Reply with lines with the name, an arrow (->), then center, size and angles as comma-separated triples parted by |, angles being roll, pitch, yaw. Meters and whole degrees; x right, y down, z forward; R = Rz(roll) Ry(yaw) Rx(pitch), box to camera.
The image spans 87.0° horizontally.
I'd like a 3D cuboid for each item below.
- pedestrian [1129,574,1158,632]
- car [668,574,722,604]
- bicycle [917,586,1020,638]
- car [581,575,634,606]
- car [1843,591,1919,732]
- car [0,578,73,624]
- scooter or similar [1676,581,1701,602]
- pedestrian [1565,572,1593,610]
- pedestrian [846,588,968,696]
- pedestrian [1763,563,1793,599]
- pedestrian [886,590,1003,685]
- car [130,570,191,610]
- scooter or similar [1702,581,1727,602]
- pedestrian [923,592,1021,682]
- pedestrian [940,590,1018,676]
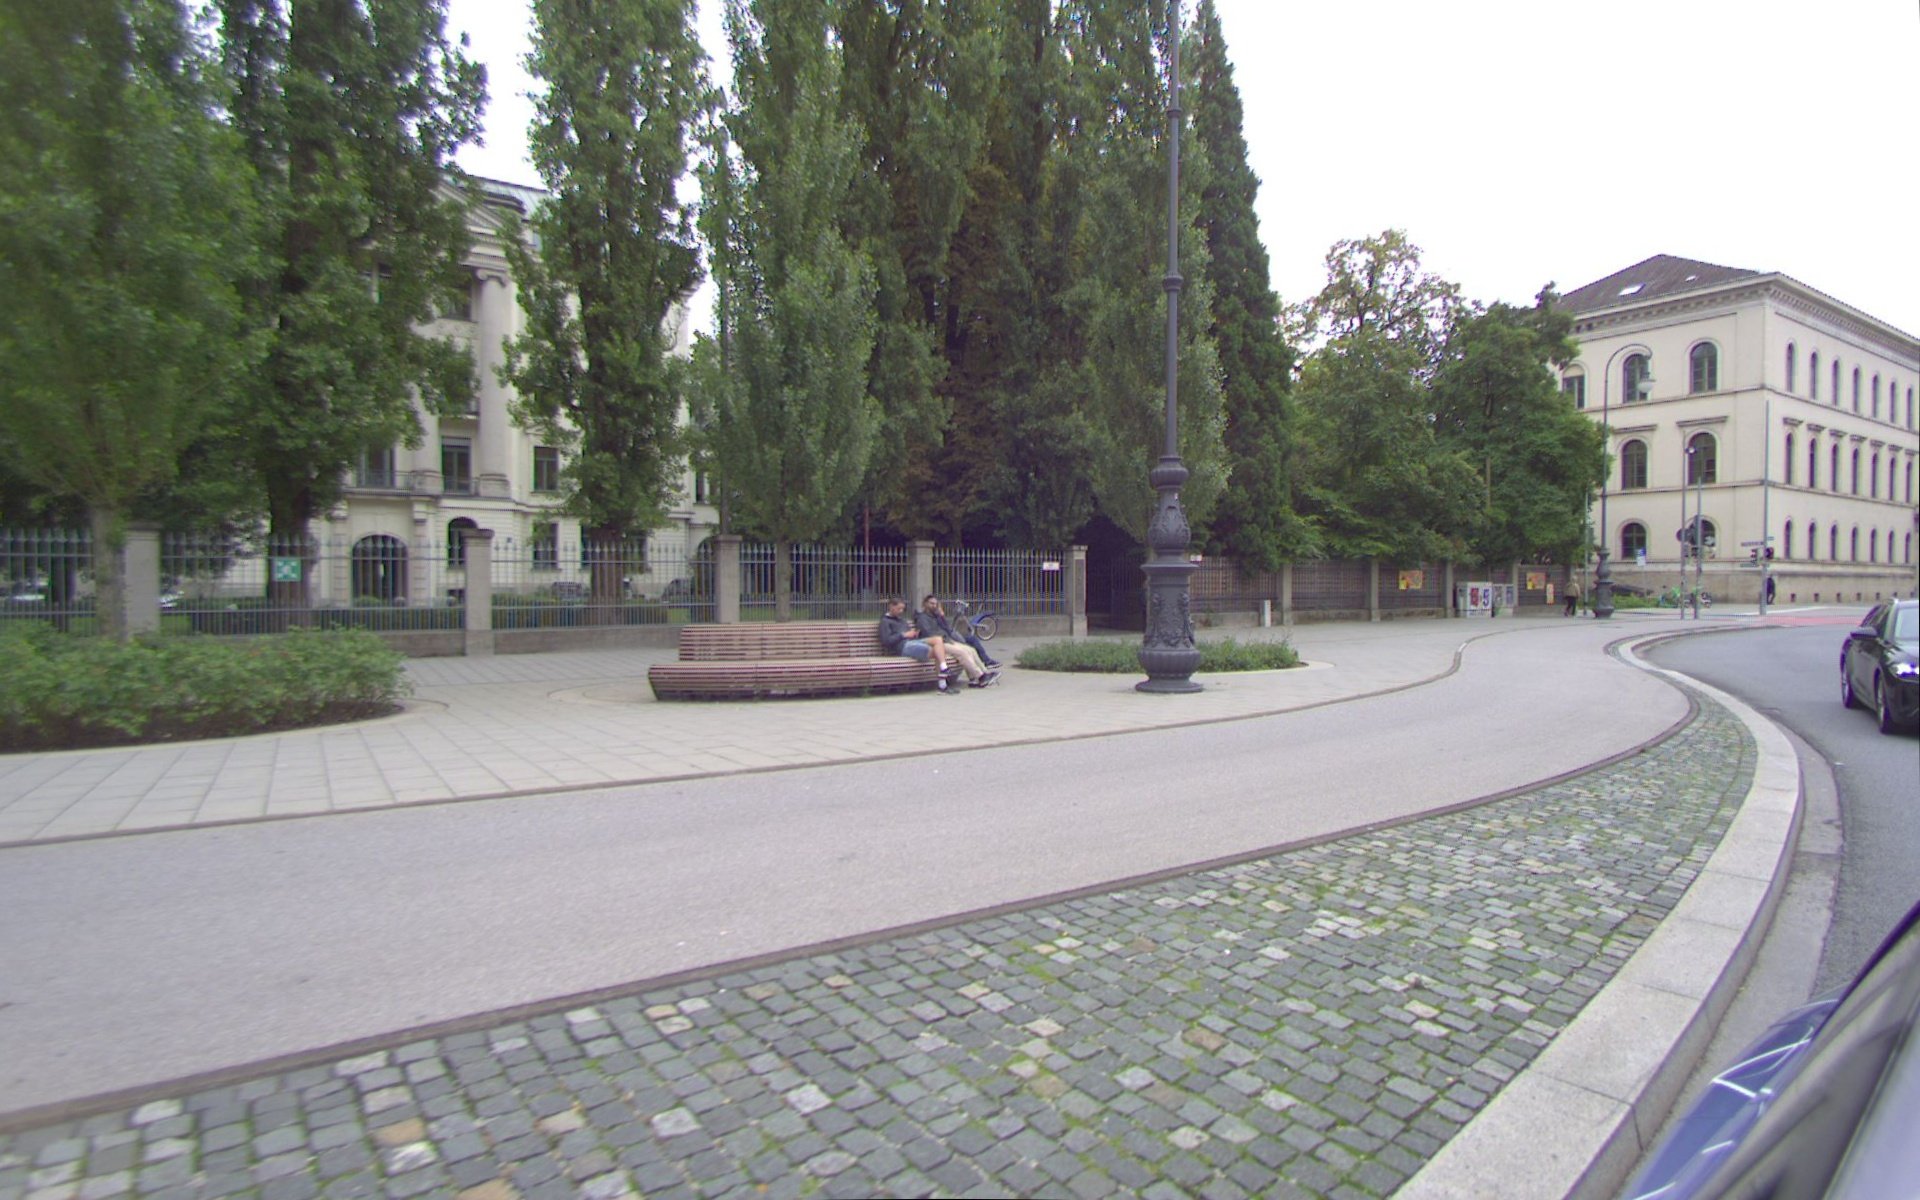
pedestrian -> 5.230, 0.076, 28.783 | 0.526, 1.640, 0.591 | -1, 0, -33
car -> -14.748, -0.599, 56.201 | 1.912, 1.594, 4.272 | -1, 1, -29
bicycle -> 0.260, 0.273, 26.361 | 2.946, 1.254, 0.674 | -1, 2, -40
car -> -19.049, -0.530, 54.589 | 1.960, 1.594, 4.475 | -1, 1, -29
car -> 11.494, 0.589, 11.337 | 1.911, 1.345, 4.356 | -2, 0, 35
car -> -37.797, -0.008, 41.364 | 1.766, 1.791, 4.001 | -1, 1, -34
scooter or similar -> 40.744, -0.464, 56.570 | 1.624, 1.155, 0.568 | -1, 1, -32
pedestrian -> 26.520, -0.391, 43.358 | 0.802, 1.618, 0.739 | -1, 1, -32
pedestrian -> -0.675, 0.502, 12.846 | 1.320, 1.290, 0.798 | -1, 0, 34
pedestrian -> 47.037, -1.080, 58.205 | 0.987, 2.039, 0.942 | 0, 1, 12
pedestrian -> -0.209, 0.489, 13.725 | 1.357, 1.222, 0.800 | -1, 0, 28
car -> -34.472, -0.476, 43.719 | 1.618, 1.638, 4.003 | 0, 1, -32
scooter or similar -> 41.695, -0.466, 55.909 | 1.624, 1.155, 0.568 | -1, 1, -32
pedestrian -> 0.165, 0.509, 14.344 | 1.254, 1.231, 0.570 | -1, 0, 27
pedestrian -> 0.284, 0.470, 14.948 | 0.993, 1.229, 0.561 | -1, 0, 27
